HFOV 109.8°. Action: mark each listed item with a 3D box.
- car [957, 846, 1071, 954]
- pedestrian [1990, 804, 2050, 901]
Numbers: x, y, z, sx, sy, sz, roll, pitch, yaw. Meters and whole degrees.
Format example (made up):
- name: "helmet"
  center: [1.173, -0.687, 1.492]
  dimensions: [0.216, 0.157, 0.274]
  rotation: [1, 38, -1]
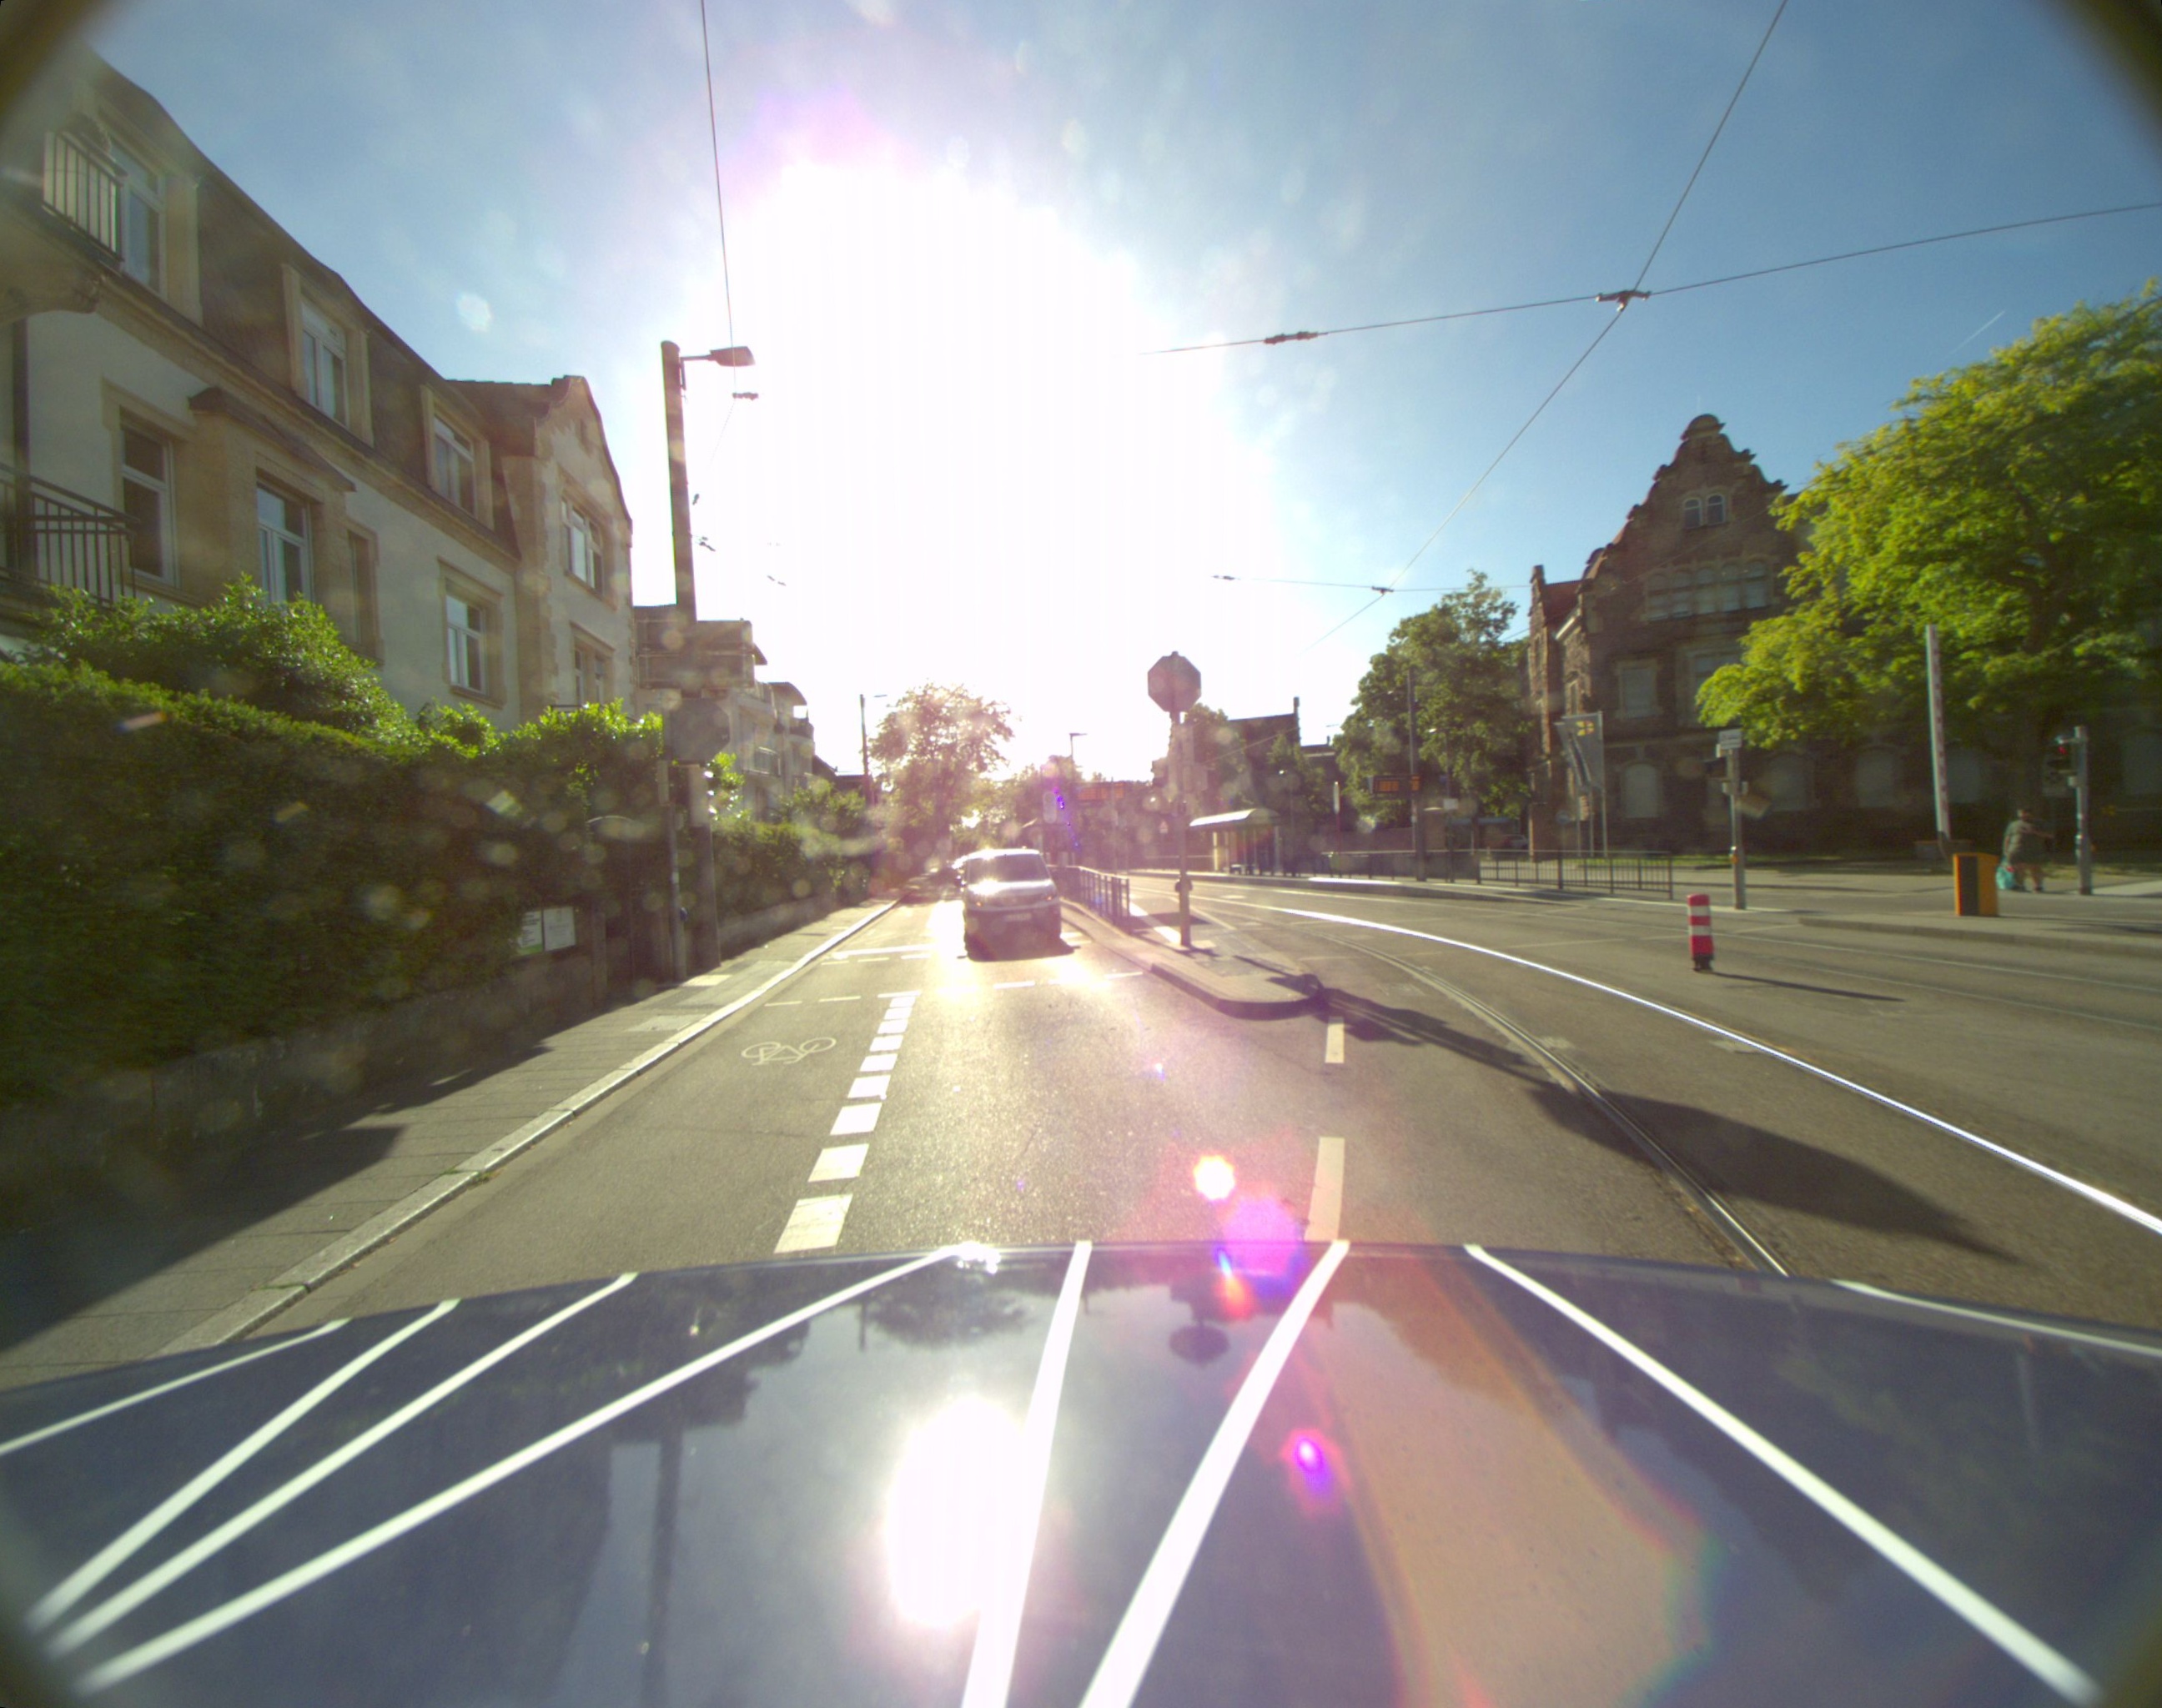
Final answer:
- name: "car"
  center: [-1.560, 0.804, 15.897]
  dimensions: [1.858, 1.788, 4.692]
  rotation: [-4, 1, -10]
- name: "pedestrian"
  center: [19.448, -0.036, 15.741]
  dimensions: [0.487, 1.943, 0.696]
  rotation: [-3, 1, -30]
